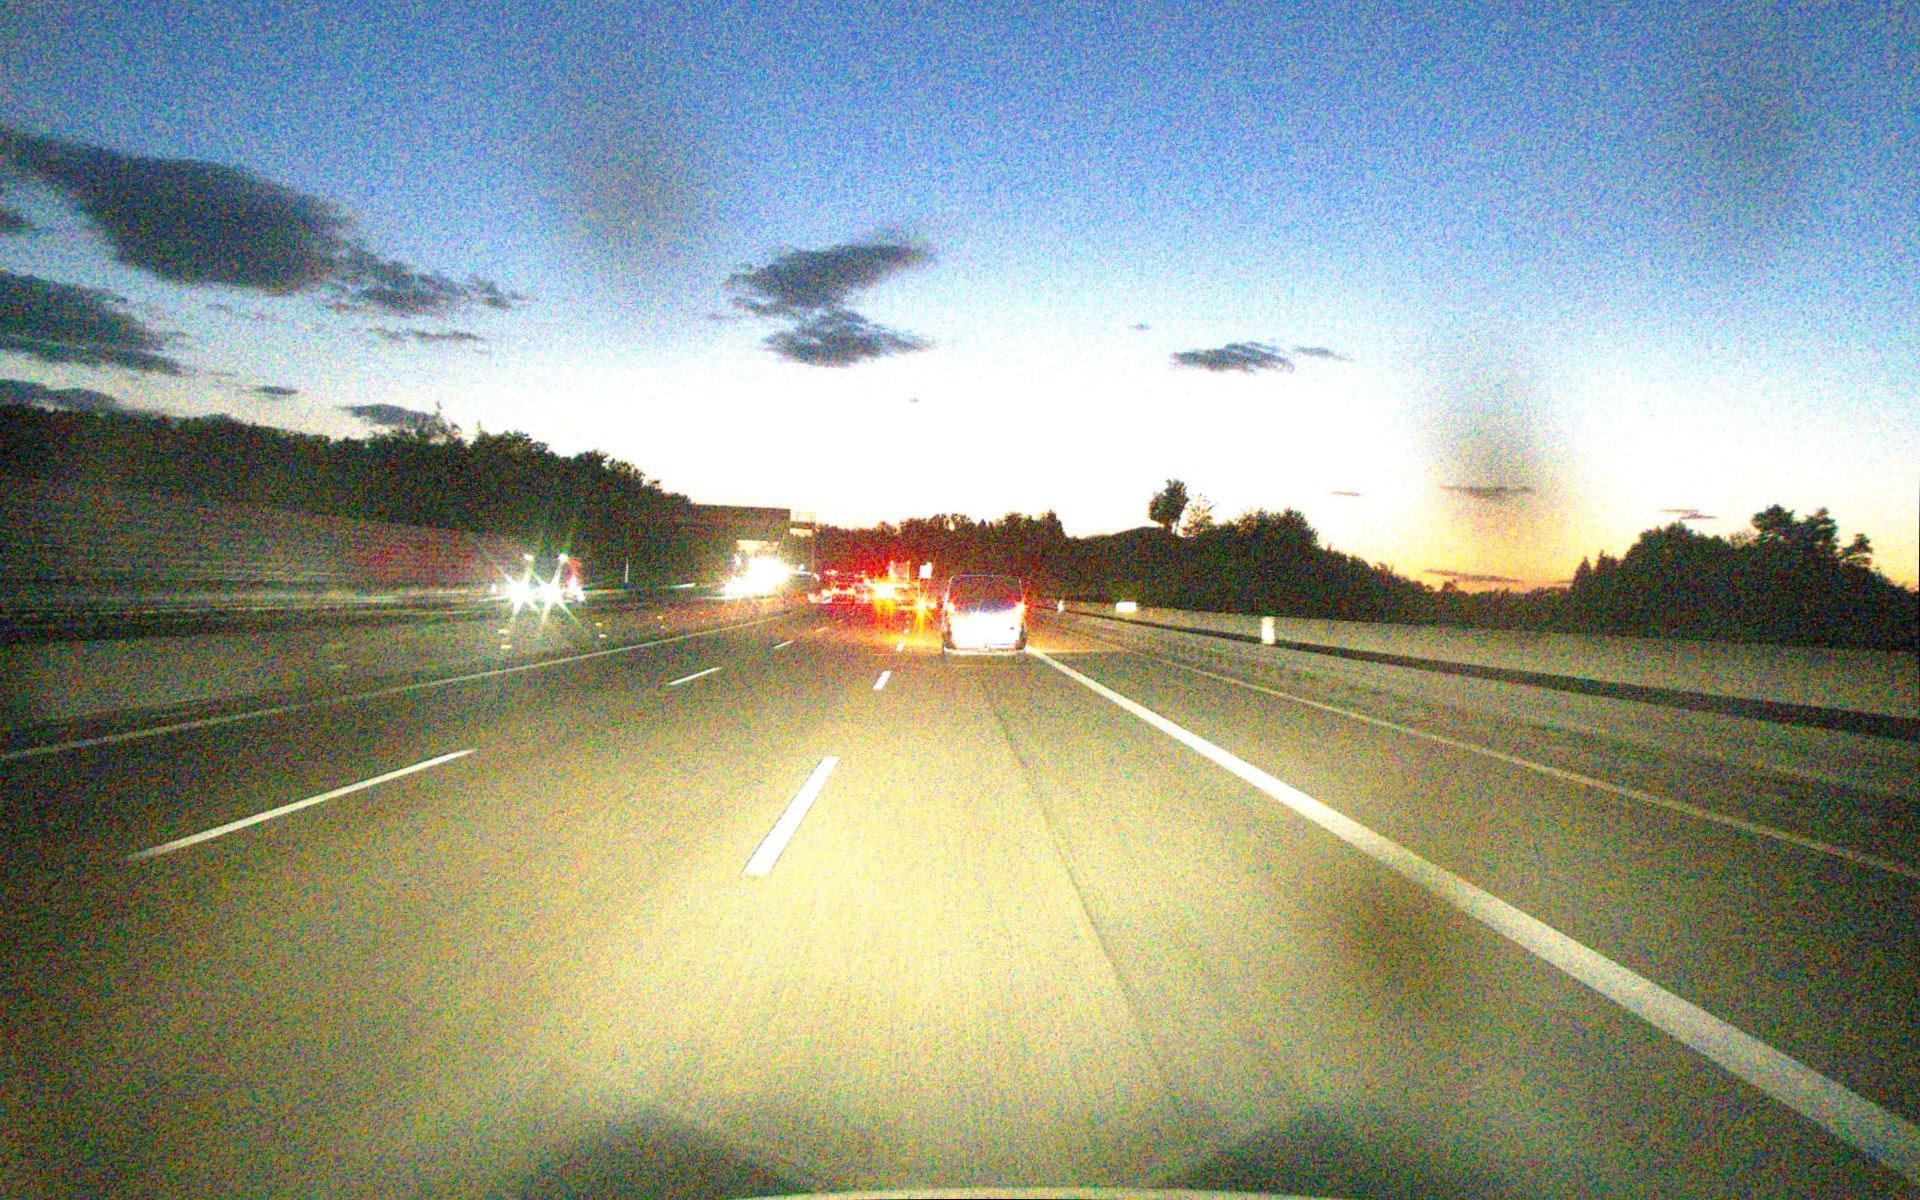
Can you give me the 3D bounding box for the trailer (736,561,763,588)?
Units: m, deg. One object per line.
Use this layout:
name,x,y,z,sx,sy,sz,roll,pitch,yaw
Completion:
trailer,-32.044,-3.877,251.919,3.362,4.049,7.348,1,1,-3

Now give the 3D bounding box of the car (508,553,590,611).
car,-23.469,-1.059,94.883,2.597,3.139,8.214,1,1,0

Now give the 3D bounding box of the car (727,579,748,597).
car,-23.125,-1.247,171.918,1.786,1.724,4.670,1,-1,-2

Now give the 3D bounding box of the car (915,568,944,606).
car,-2.228,-0.967,120.029,1.991,2.693,5.724,1,1,-1

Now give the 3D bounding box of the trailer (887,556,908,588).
trailer,-9.544,-4.194,251.416,2.773,4.331,17.035,1,-1,-3

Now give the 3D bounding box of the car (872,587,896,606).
car,-7.560,-0.329,164.592,1.956,1.825,3.993,1,-1,-8

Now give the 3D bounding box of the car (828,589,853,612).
car,-10.027,0.026,139.242,1.953,1.848,3.998,1,-1,-2

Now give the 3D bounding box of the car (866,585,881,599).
car,-11.818,-1.115,226.953,1.953,1.825,3.998,1,-1,-1

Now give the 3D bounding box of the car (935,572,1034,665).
car,0.504,0.375,39.851,2.073,2.036,5.662,1,1,-2
